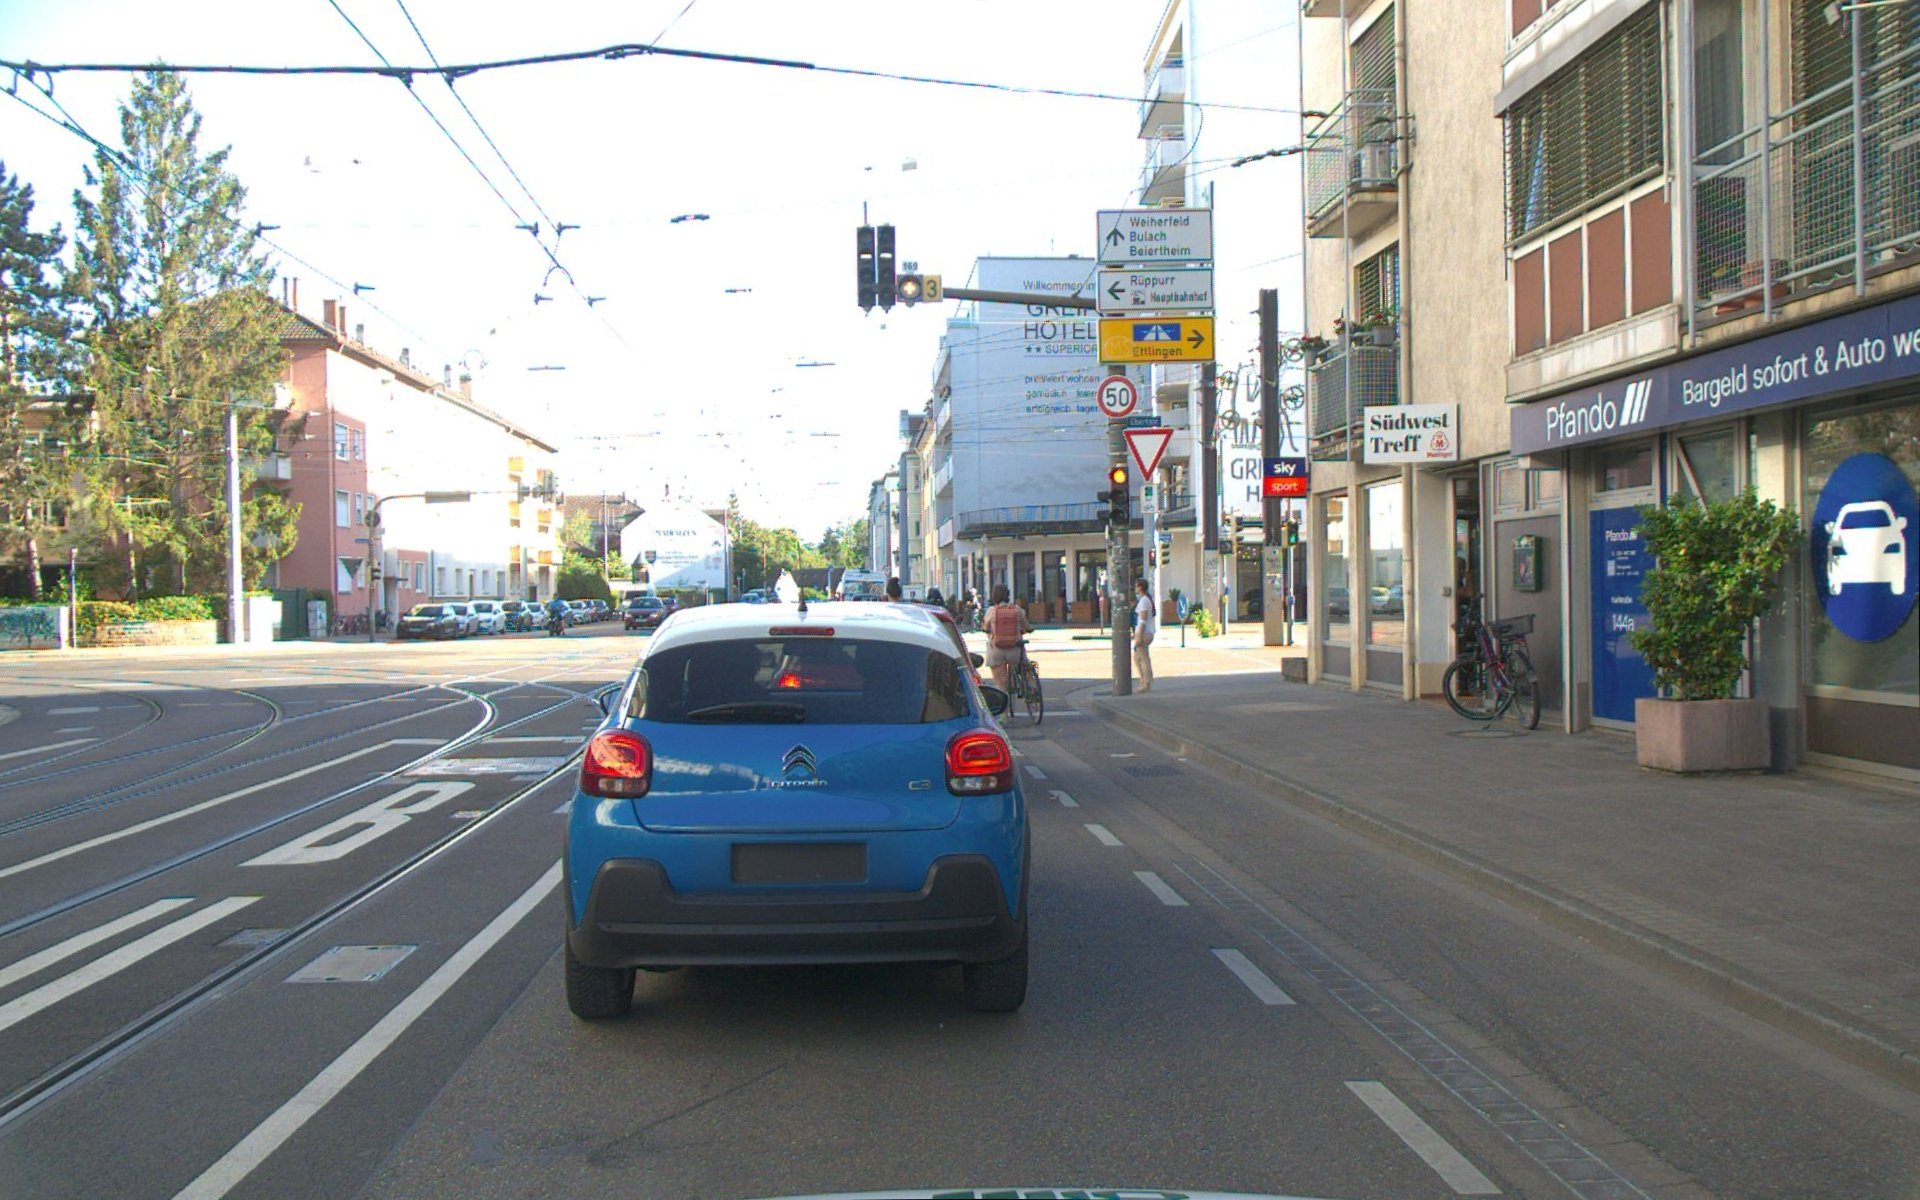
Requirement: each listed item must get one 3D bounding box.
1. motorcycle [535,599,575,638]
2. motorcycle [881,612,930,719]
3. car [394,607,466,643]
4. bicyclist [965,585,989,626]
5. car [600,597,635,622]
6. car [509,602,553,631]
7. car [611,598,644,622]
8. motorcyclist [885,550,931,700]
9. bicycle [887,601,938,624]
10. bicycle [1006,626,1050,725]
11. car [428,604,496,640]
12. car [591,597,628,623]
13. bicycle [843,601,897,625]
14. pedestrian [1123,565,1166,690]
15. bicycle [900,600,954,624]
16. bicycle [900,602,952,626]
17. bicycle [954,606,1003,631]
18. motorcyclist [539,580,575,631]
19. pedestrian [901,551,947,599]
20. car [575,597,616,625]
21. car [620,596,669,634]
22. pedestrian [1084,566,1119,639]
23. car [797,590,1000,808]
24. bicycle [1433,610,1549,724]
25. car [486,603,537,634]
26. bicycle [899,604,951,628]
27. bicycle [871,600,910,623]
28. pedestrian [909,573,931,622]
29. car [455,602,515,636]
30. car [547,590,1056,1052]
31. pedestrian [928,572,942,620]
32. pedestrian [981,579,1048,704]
[{"bbox_3d":[-16.292,0.738,66.627,0.905,1.512,3.723,1,0,-4],"label":"motorcycle"},{"bbox_3d":[-0.619,0.734,19.415,0.515,1.159,2.289,1,0,-1],"label":"motorcycle"},{"bbox_3d":[-21.892,1.008,68.477,1.757,1.446,3.994,1,0,-2],"label":"car"},{"bbox_3d":[0.642,0.208,61.651,0.730,1.503,0.563,1,-1,17],"label":"bicyclist"},{"bbox_3d":[-24.061,0.667,116.310,1.797,1.716,3.997,1,0,-4],"label":"car"},{"bbox_3d":[-23.773,0.913,91.733,1.699,1.524,3.996,1,0,-5],"label":"car"},{"bbox_3d":[-24.283,0.705,120.900,1.809,1.716,3.871,1,0,-4],"label":"car"},{"bbox_3d":[-0.611,0.293,19.605,0.516,1.746,0.717,1,-1,-1],"label":"motorcyclist"},{"bbox_3d":[-1.963,0.504,68.266,2.093,0.917,0.366,1,-1,-10],"label":"bicycle"},{"bbox_3d":[0.828,0.909,20.549,0.419,1.142,1.998,1,0,-1],"label":"bicycle"},{"bbox_3d":[-22.327,0.955,74.251,1.778,1.524,4.299,1,0,-1],"label":"car"},{"bbox_3d":[-23.504,0.678,111.028,1.845,1.716,3.997,1,0,-4],"label":"car"},{"bbox_3d":[-3.607,0.529,66.176,2.093,0.917,0.366,1,-1,-10],"label":"bicycle"},{"bbox_3d":[2.708,0.398,24.289,0.507,1.814,0.595,1,-1,-3],"label":"pedestrian"},{"bbox_3d":[-1.320,0.480,65.845,2.093,0.917,0.366,1,-1,-10],"label":"bicycle"},{"bbox_3d":[-1.374,0.572,67.150,2.093,0.917,0.366,1,-1,-10],"label":"bicycle"},{"bbox_3d":[0.683,0.687,61.624,1.814,0.919,0.350,1,-1,19],"label":"bicycle"},{"bbox_3d":[-16.322,0.211,67.007,1.162,2.049,1.274,-1,0,-4],"label":"motorcyclist"},{"bbox_3d":[-1.605,-1.081,73.523,1.953,2.049,3.999,1,0,-1],"label":"pedestrian"},{"bbox_3d":[-23.309,0.694,105.817,1.944,1.716,3.997,1,0,-4],"label":"car"},{"bbox_3d":[-14.503,0.688,76.182,1.740,1.695,3.853,1,0,-4],"label":"car"},{"bbox_3d":[4.011,0.074,46.910,0.907,2.049,0.759,1,-1,-1],"label":"pedestrian"},{"bbox_3d":[-0.450,0.701,13.043,1.395,1.493,2.923,-1,0,-1],"label":"car"},{"bbox_3d":[5.046,0.613,15.804,0.531,1.016,1.705,1,0,-1],"label":"bicycle"},{"bbox_3d":[-23.163,0.950,85.536,1.750,1.524,3.997,1,0,-4],"label":"car"},{"bbox_3d":[-1.429,0.655,67.546,2.093,0.917,0.366,1,-1,-10],"label":"bicycle"},{"bbox_3d":[-2.926,0.480,69.355,1.751,0.917,0.365,1,-1,34],"label":"bicycle"},{"bbox_3d":[-1.666,-0.098,69.146,0.625,2.049,0.715,1,-1,-37],"label":"pedestrian"},{"bbox_3d":[-22.639,0.880,79.006,1.751,1.537,4.148,1,0,-2],"label":"car"},{"bbox_3d":[-0.534,0.724,7.114,1.620,1.469,3.522,1,0,-1],"label":"car"},{"bbox_3d":[-1.070,-0.164,70.289,0.565,2.049,0.625,1,-1,-3],"label":"pedestrian"},{"bbox_3d":[0.658,0.502,20.258,0.761,1.486,0.681,1,-1,-1],"label":"pedestrian"}]
